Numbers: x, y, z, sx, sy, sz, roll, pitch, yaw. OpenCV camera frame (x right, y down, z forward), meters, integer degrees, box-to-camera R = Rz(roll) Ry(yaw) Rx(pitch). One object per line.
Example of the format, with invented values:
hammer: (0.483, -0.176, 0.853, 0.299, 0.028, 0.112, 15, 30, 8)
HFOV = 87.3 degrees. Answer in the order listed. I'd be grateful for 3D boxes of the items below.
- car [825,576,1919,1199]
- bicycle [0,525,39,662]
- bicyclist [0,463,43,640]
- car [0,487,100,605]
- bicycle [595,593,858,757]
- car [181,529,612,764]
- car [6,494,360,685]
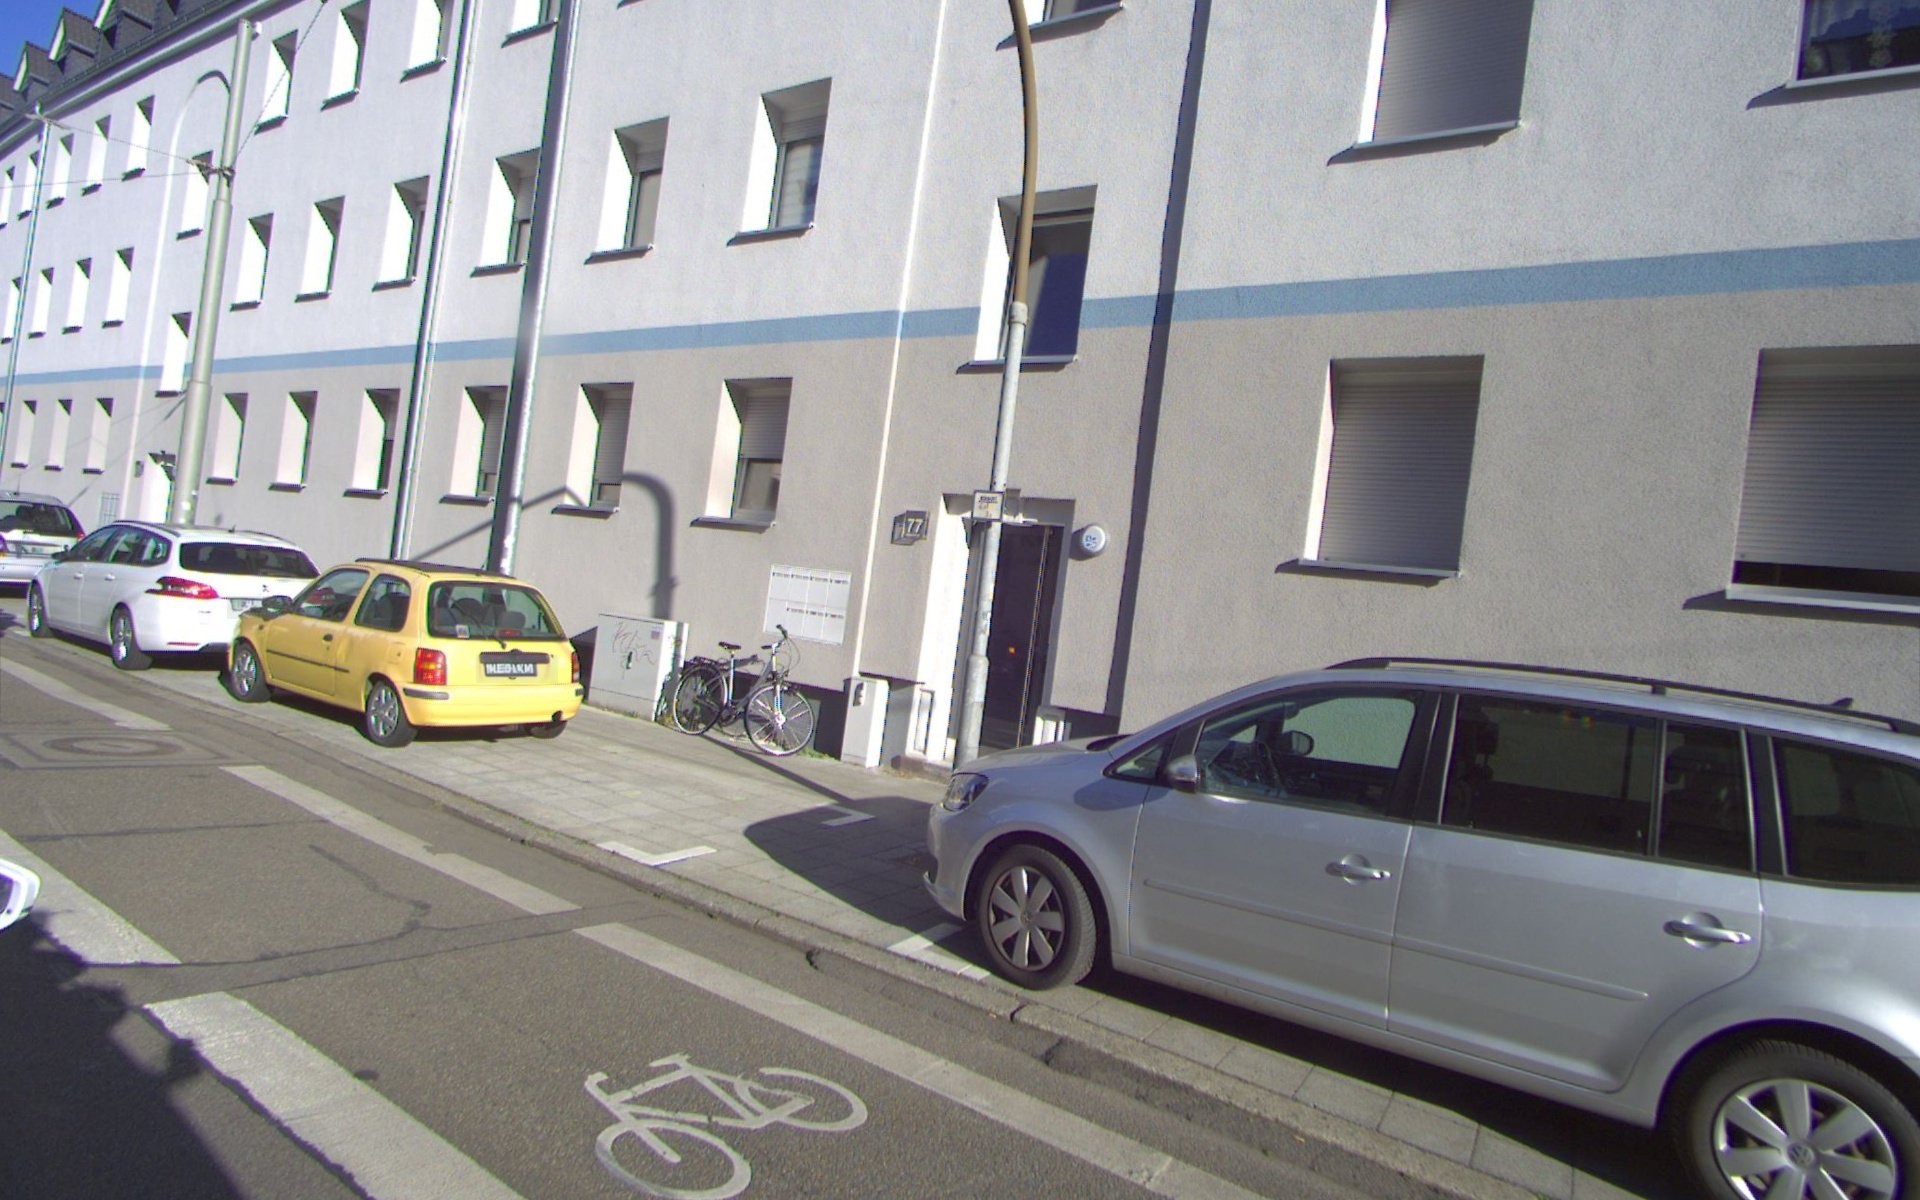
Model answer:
car: (1.831, 1.013, 4.375, 4.548, 1.686, 1.757, 7, 1, 30)
bicycle: (-10.099, -0.197, 9.883, 2.422, 1.250, 0.822, 7, -2, 32)
bicyclist: (-9.802, -0.535, 9.786, 0.953, 1.696, 0.936, 7, -1, 32)
car: (-15.054, -0.947, 15.516, 3.842, 1.592, 1.754, 7, 2, 35)
bicycle: (-2.310, 0.703, 9.859, 2.288, 1.211, 1.098, 7, -1, 32)
car: (-5.154, 0.317, 9.015, 4.132, 1.448, 1.515, 7, 0, 33)
car: (-8.762, -0.168, 11.220, 4.436, 1.590, 1.681, 7, 1, 33)
